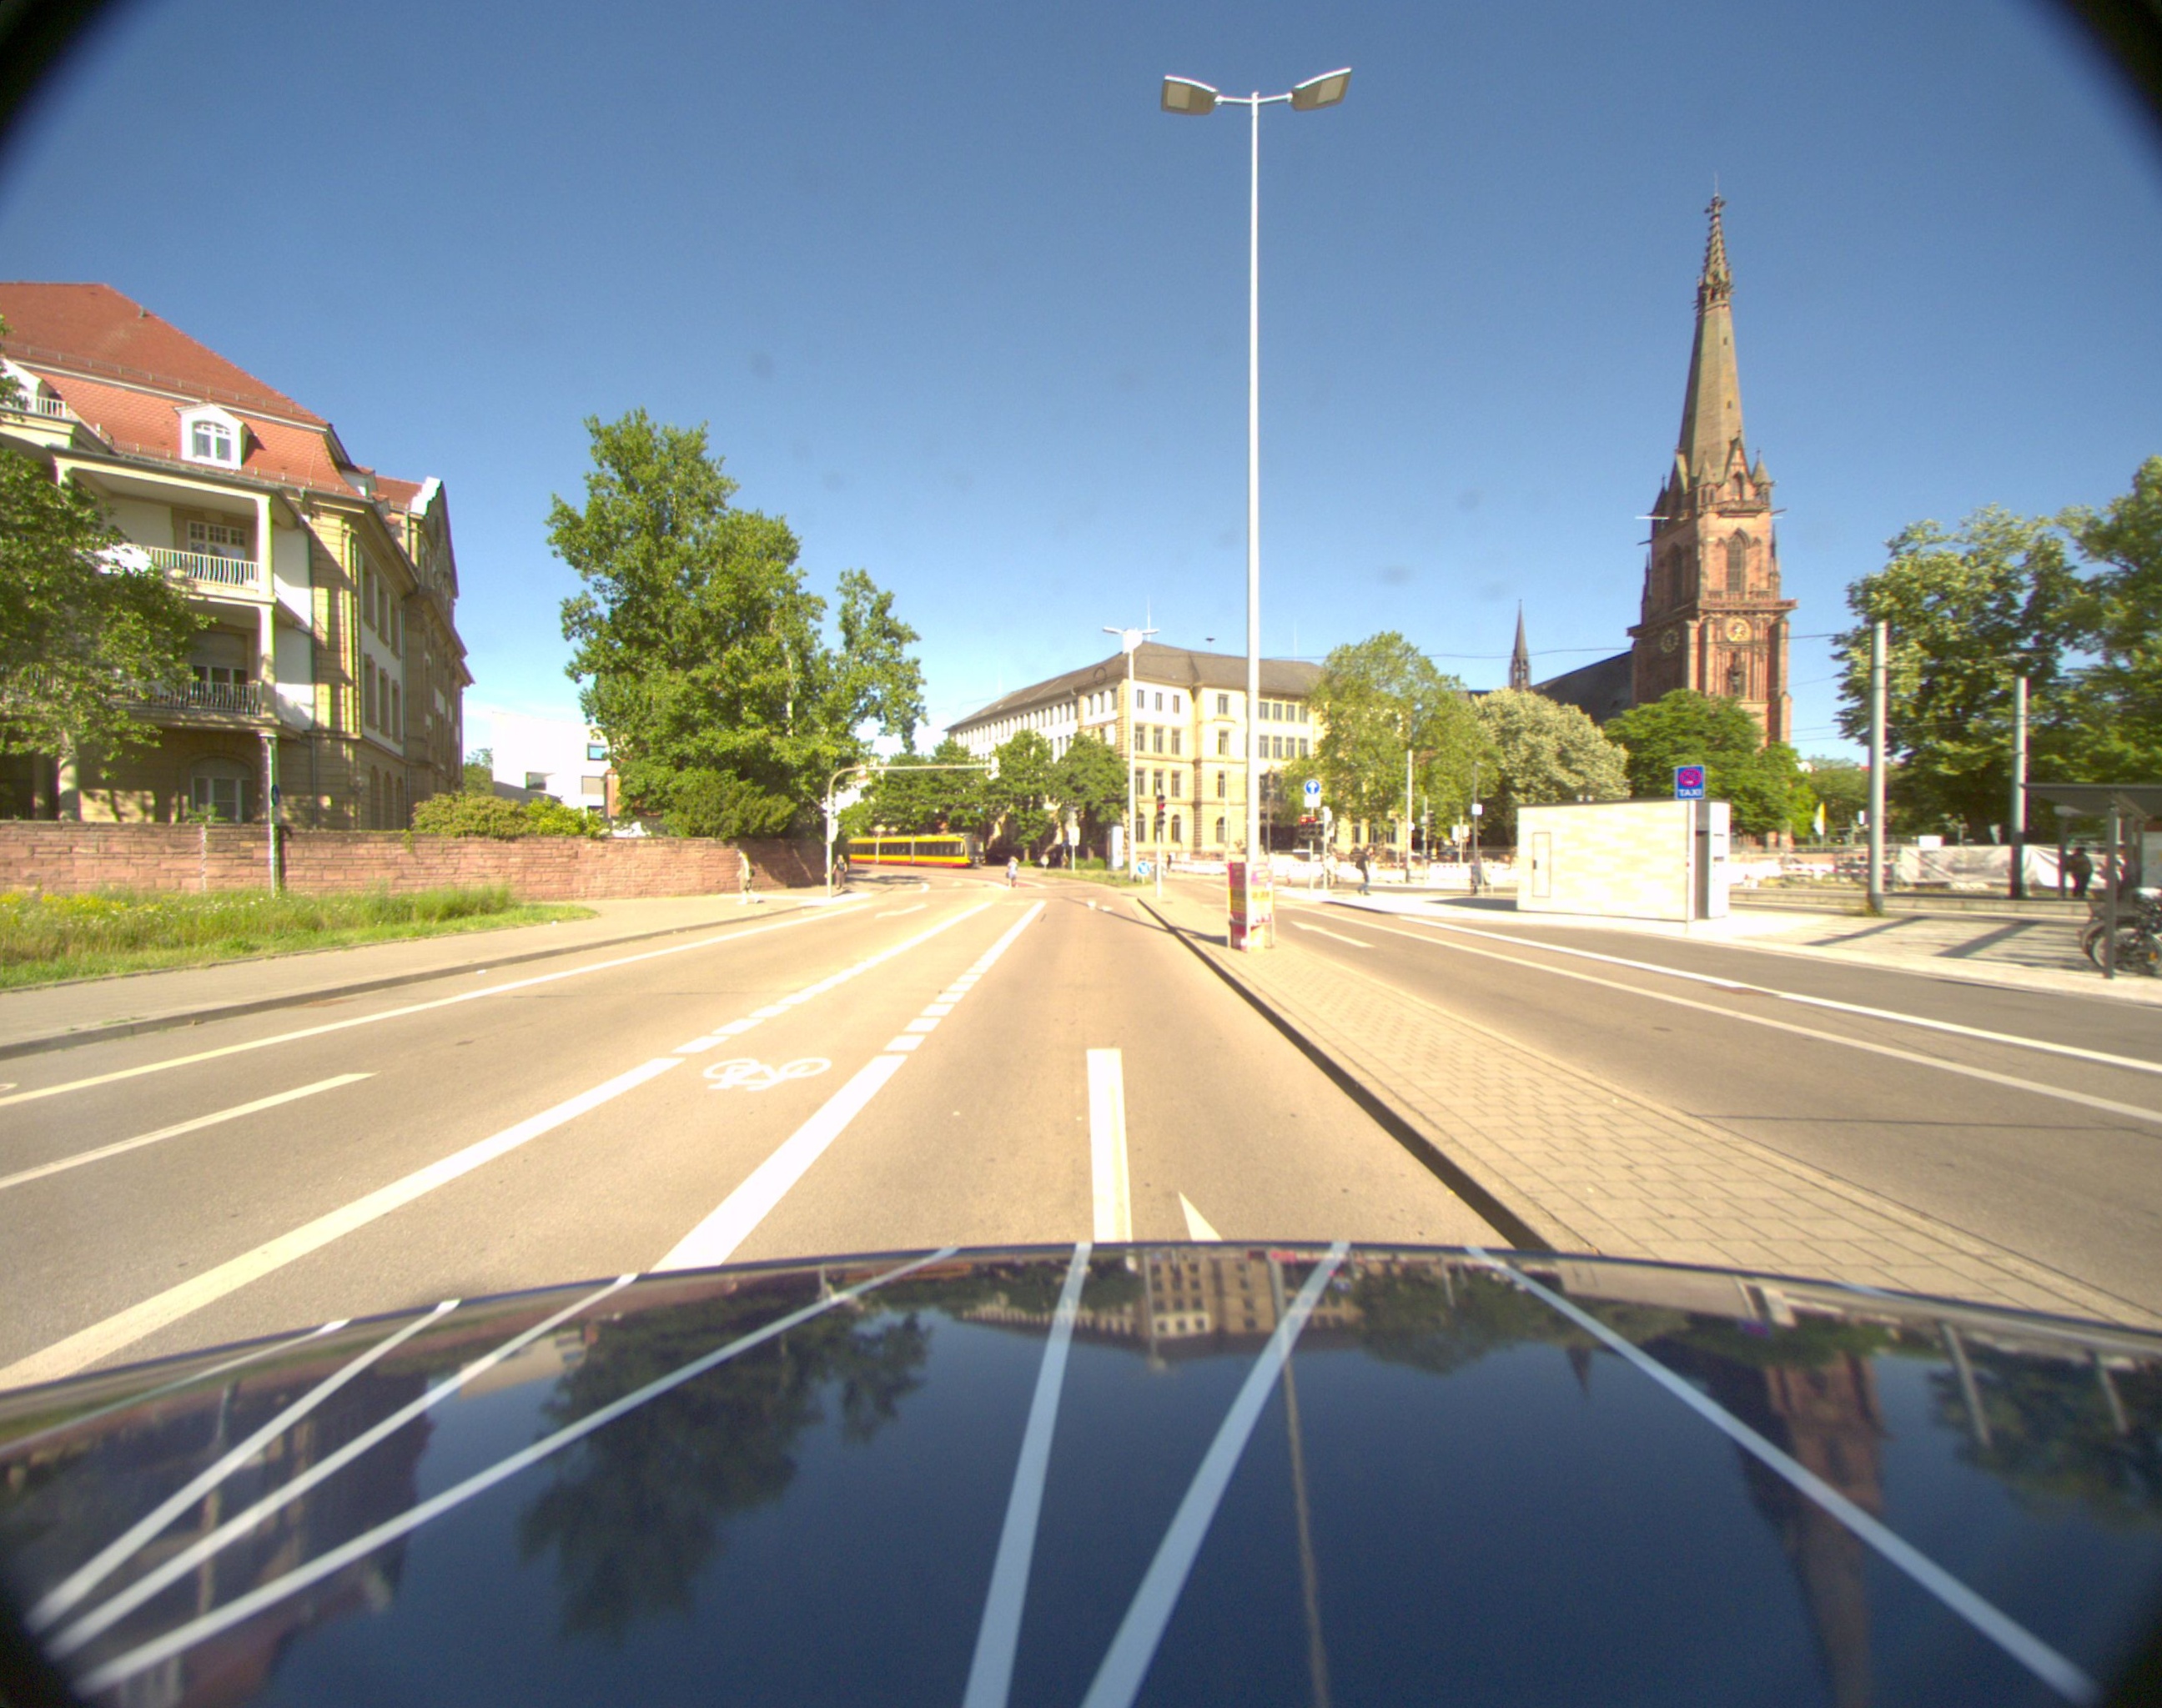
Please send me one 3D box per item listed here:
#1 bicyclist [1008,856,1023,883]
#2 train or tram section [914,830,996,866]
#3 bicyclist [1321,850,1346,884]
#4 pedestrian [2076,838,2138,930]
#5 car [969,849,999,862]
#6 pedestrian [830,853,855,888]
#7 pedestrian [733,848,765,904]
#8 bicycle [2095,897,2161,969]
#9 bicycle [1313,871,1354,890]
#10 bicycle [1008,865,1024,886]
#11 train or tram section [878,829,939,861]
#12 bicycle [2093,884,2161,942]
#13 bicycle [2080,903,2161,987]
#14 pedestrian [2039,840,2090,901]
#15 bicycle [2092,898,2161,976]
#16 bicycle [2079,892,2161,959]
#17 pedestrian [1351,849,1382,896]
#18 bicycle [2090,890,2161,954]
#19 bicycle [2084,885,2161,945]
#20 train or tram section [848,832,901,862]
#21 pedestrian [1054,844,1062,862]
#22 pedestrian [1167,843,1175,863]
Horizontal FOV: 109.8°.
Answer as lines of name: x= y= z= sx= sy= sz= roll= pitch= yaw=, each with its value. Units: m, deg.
bicyclist: x=-3.433 y=0.789 z=39.653 sx=0.741 sy=1.363 sz=0.626 roll=-2 pitch=1 yaw=-6
train or tram section: x=-13.381 y=-0.639 z=79.116 sx=2.947 sy=3.500 sz=13.803 roll=-1 pitch=1 yaw=-34
bicyclist: x=11.724 y=0.575 z=35.236 sx=0.887 sy=1.562 sz=0.739 roll=-1 pitch=1 yaw=-37
pedestrian: x=21.125 y=0.595 z=15.660 sx=0.622 sy=1.849 sz=0.700 roll=-2 pitch=2 yaw=-40
car: x=-11.621 y=0.140 z=90.888 sx=1.839 sy=1.587 sz=3.989 roll=-1 pitch=1 yaw=-37
pedestrian: x=-11.421 y=0.787 z=36.412 sx=0.931 sy=1.657 sz=0.631 roll=0 pitch=1 yaw=6
pedestrian: x=-11.161 y=0.739 z=25.558 sx=0.786 sy=1.847 sz=0.630 roll=0 pitch=1 yaw=4
bicycle: x=16.132 y=1.187 z=11.003 sx=0.407 sy=0.993 sz=1.678 roll=-3 pitch=3 yaw=-33
bicycle: x=11.729 y=1.217 z=35.254 sx=2.056 sy=0.777 sz=0.739 roll=-1 pitch=1 yaw=-37
bicycle: x=-3.415 y=1.124 z=39.672 sx=0.741 sy=0.989 sz=2.305 roll=-2 pitch=1 yaw=-6
train or tram section: x=-20.488 y=-1.041 z=89.565 sx=2.947 sy=3.500 sz=11.646 roll=-1 pitch=1 yaw=-34
bicycle: x=19.518 y=1.069 z=13.583 sx=0.407 sy=0.993 sz=1.679 roll=-3 pitch=2 yaw=-33
bicycle: x=13.989 y=1.193 z=9.554 sx=0.407 sy=0.993 sz=1.678 roll=-3 pitch=3 yaw=-33
pedestrian: x=30.520 y=0.503 z=23.587 sx=0.619 sy=1.849 sz=0.703 roll=0 pitch=1 yaw=11
bicycle: x=15.034 y=1.170 z=10.212 sx=0.407 sy=0.993 sz=1.678 roll=-3 pitch=3 yaw=-33
bicycle: x=17.189 y=1.146 z=12.016 sx=0.407 sy=0.993 sz=1.679 roll=-3 pitch=2 yaw=-33
pedestrian: x=10.759 y=0.683 z=28.674 sx=1.001 sy=1.733 sz=0.631 roll=0 pitch=1 yaw=8
bicycle: x=17.968 y=1.142 z=12.463 sx=0.407 sy=0.993 sz=1.679 roll=-3 pitch=2 yaw=-33
bicycle: x=19.032 y=1.089 z=13.341 sx=0.407 sy=0.993 sz=1.679 roll=-3 pitch=2 yaw=-33
train or tram section: x=-27.073 y=-0.927 z=99.146 sx=2.947 sy=3.662 sz=11.646 roll=-1 pitch=1 yaw=-34
pedestrian: x=-2.558 y=-0.154 z=84.713 sx=0.557 sy=2.002 sz=0.645 roll=-1 pitch=1 yaw=-37
pedestrian: x=7.863 y=-0.117 z=66.363 sx=0.540 sy=1.710 sz=0.545 roll=-1 pitch=1 yaw=-37
